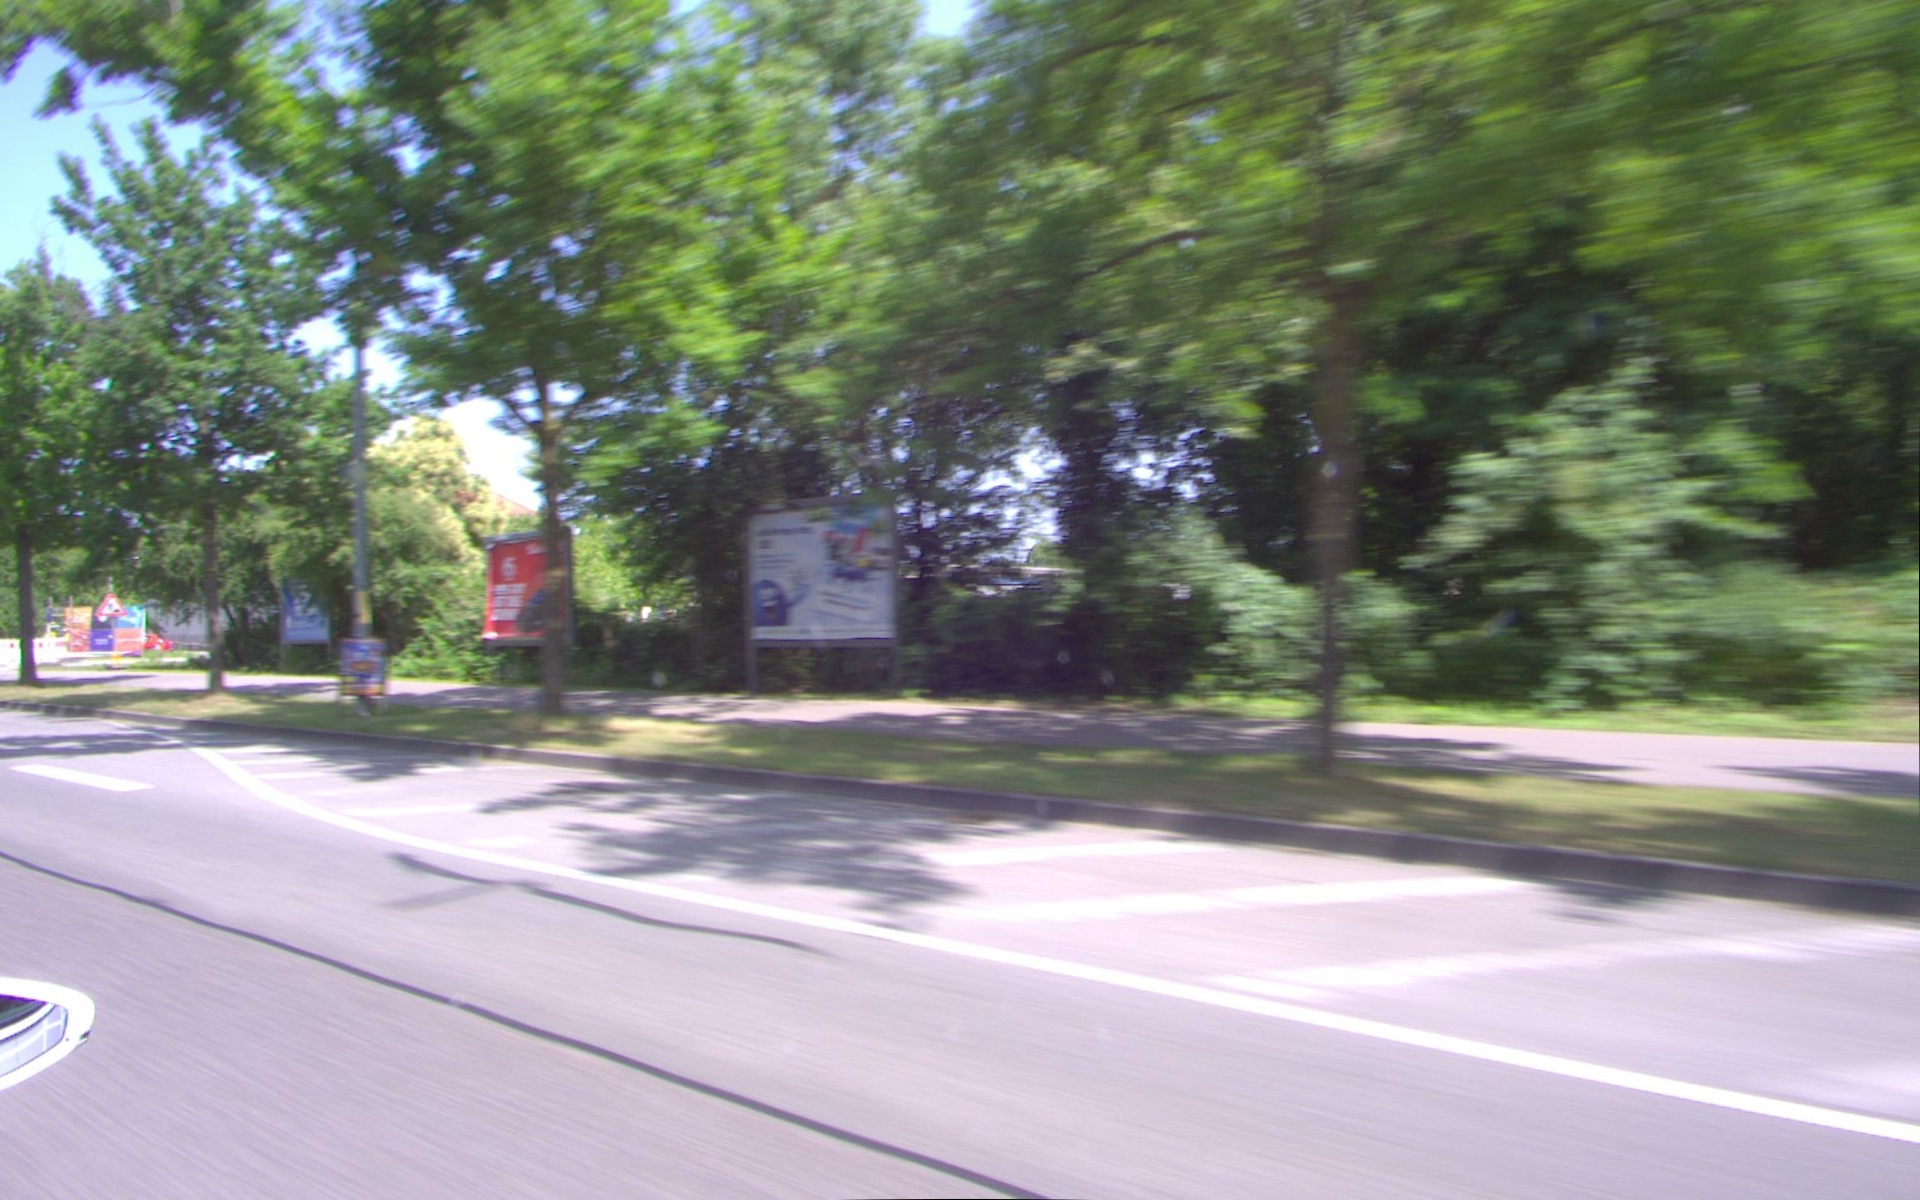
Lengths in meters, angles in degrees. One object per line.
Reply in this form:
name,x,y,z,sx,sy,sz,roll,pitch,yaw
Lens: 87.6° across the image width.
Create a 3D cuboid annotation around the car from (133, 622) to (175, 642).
car,-50.700,2.014,62.961,3.262,1.203,1.374,-1,0,39
